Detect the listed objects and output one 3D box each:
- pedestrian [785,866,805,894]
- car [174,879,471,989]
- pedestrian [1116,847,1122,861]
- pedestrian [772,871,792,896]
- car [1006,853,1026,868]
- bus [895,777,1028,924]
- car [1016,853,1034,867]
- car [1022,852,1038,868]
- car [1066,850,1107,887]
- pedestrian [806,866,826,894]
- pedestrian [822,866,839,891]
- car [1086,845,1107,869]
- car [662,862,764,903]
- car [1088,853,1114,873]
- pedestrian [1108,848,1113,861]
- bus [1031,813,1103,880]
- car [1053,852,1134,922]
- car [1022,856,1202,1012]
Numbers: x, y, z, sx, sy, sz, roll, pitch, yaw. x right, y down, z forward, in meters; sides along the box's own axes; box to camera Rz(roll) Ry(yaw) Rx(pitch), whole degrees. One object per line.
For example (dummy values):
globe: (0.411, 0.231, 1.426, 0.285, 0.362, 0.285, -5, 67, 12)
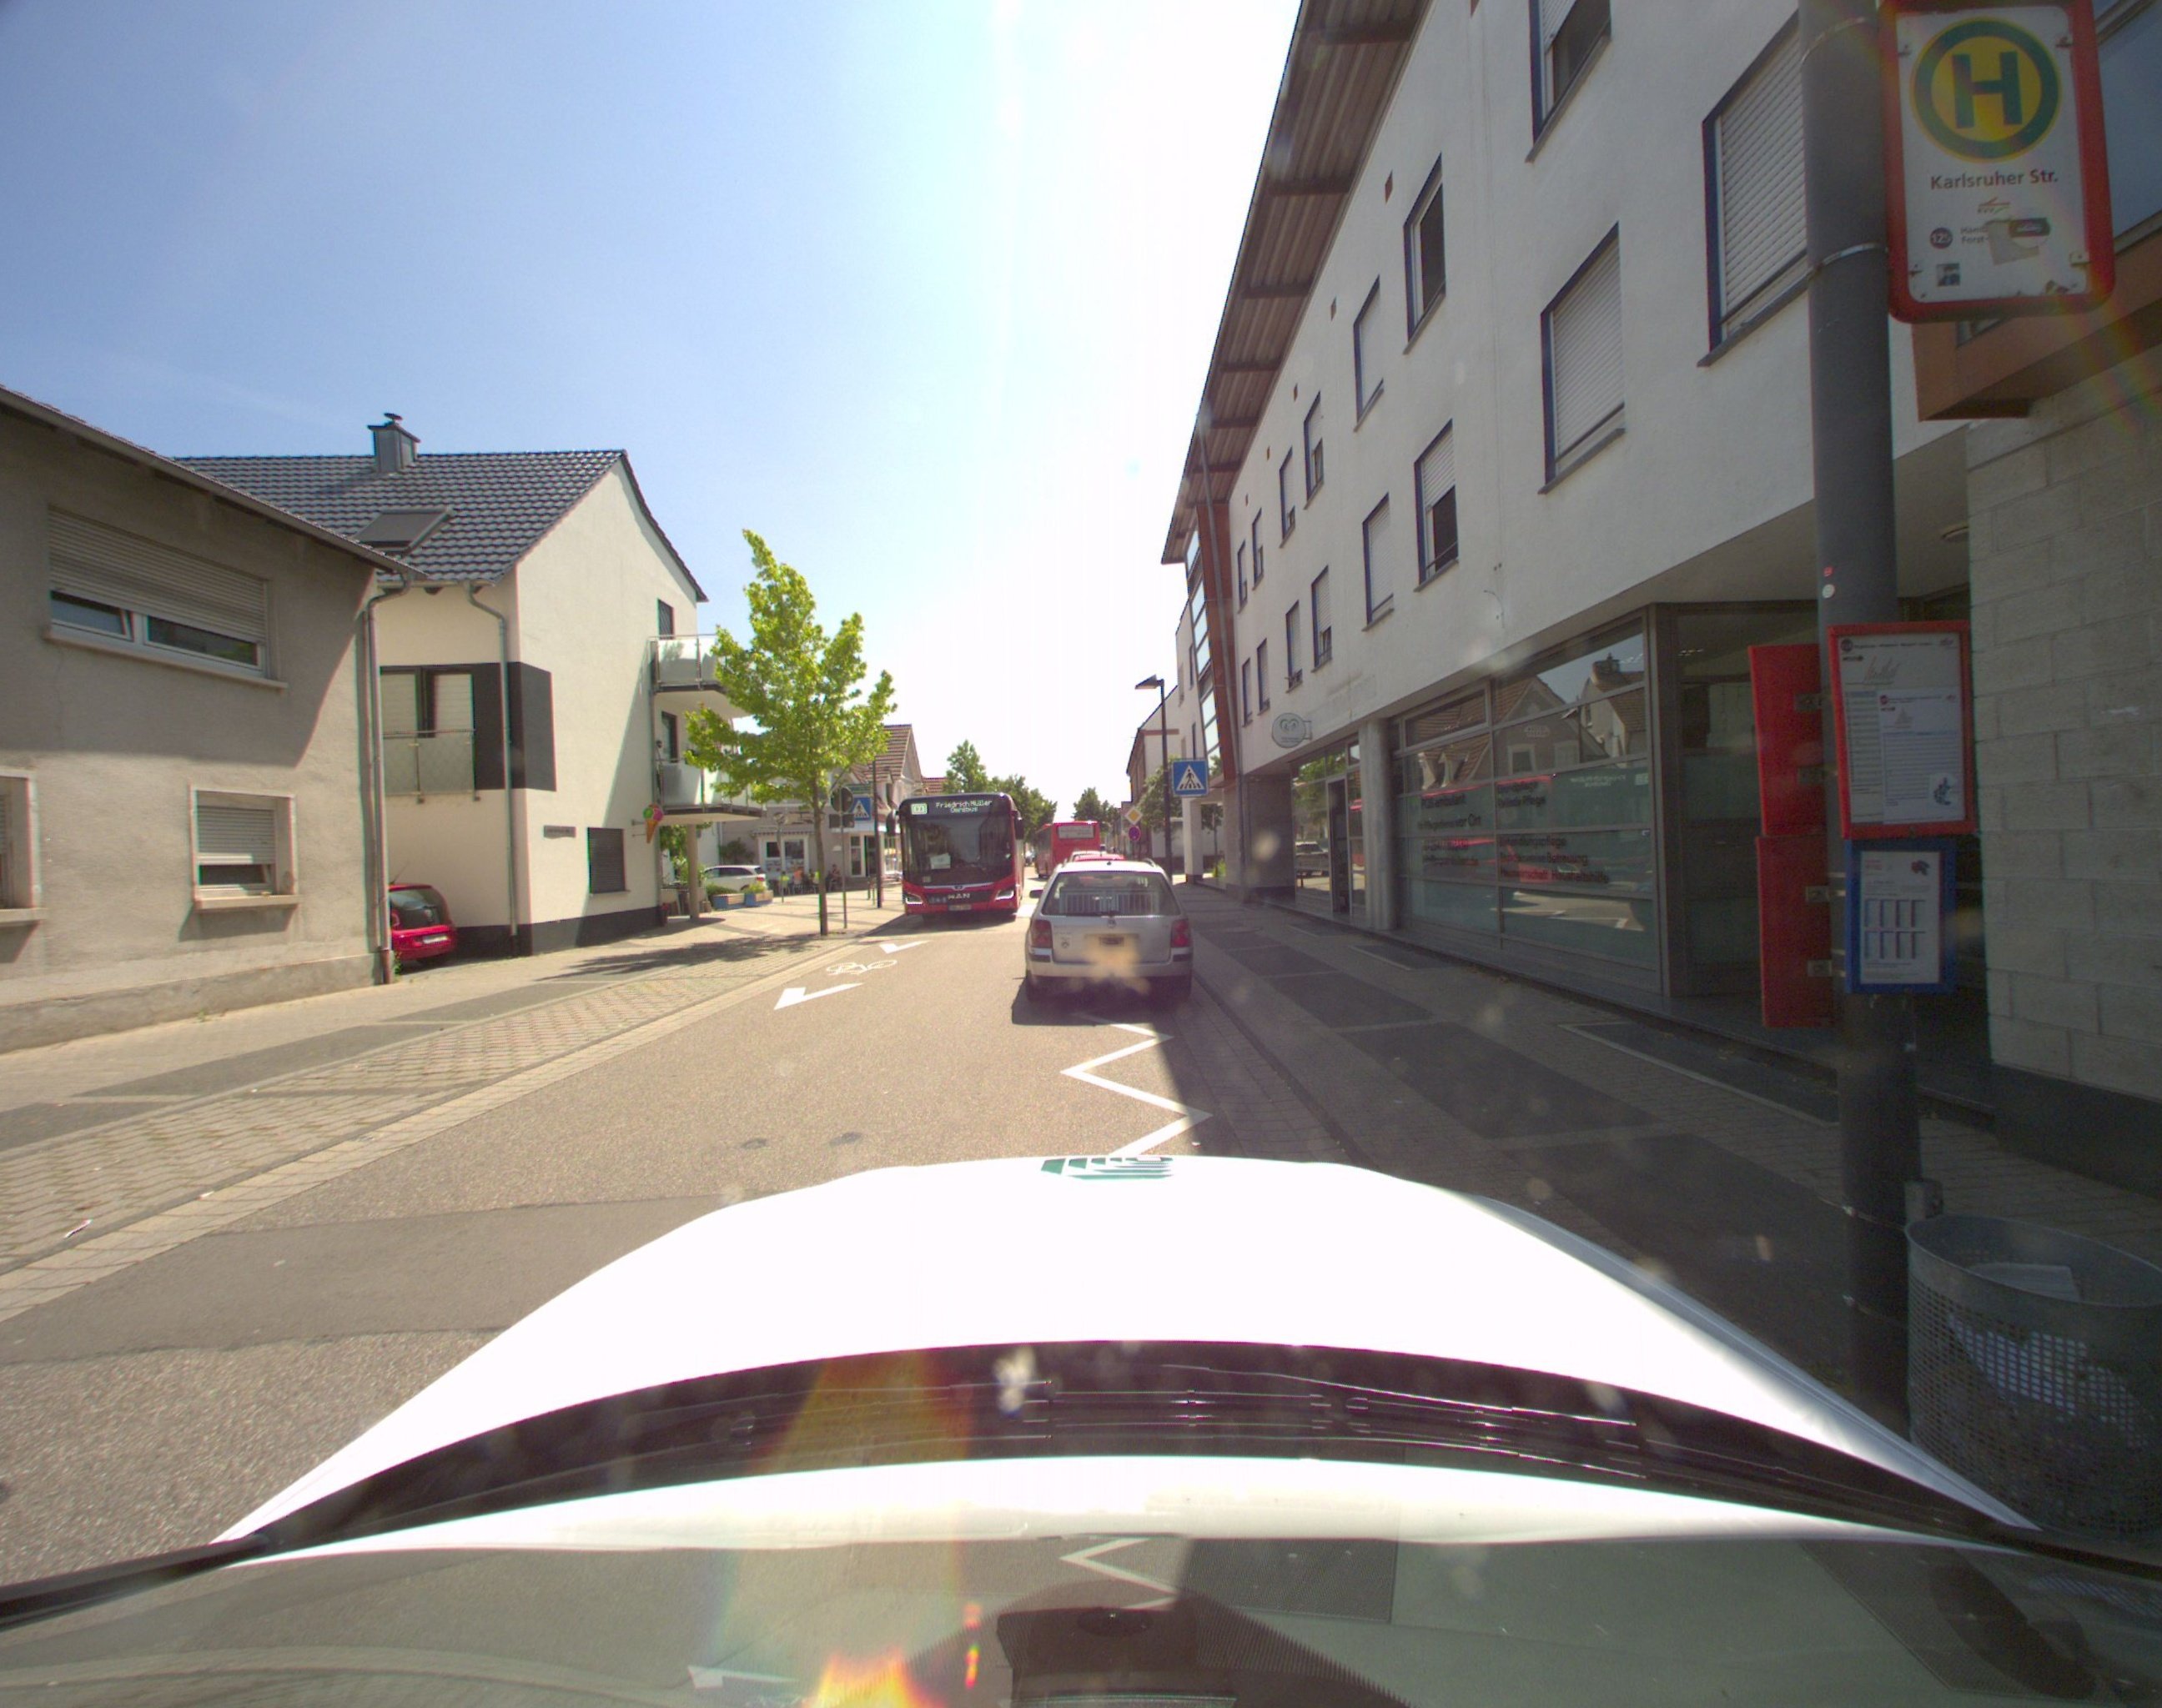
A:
pedestrian: (-13.647, 1.226, 38.868, 0.639, 1.289, 0.780, 1, -1, -44)
car: (-12.048, 1.227, 13.125, 3.110, 1.443, 1.584, -2, 0, -6)
pedestrian: (4.819, -0.003, 102.500, 0.604, 1.667, 0.789, -2, 0, -2)
pedestrian: (-13.909, 1.357, 37.900, 0.639, 1.116, 0.780, 1, -1, -44)
car: (-7.136, 0.722, 90.079, 1.806, 1.559, 3.999, -2, 0, 0)
bus: (-3.197, -0.083, 26.815, 2.663, 3.123, 17.784, -2, 0, -3)
car: (-6.624, 0.735, 96.530, 1.806, 1.559, 3.999, -2, 0, 0)
car: (-6.734, 0.801, 108.673, 1.806, 1.995, 3.999, -2, 0, 0)
car: (0.255, 0.568, 34.194, 1.588, 1.430, 3.680, -1, 0, 1)
pedestrian: (-12.616, 1.216, 38.724, 0.639, 1.289, 0.780, 1, -1, -44)
pedestrian: (-12.227, 1.207, 39.783, 0.621, 1.179, 0.695, -2, 0, -4)
car: (1.411, 0.283, 74.084, 1.782, 2.082, 3.625, -2, 0, -1)
car: (-16.337, 1.224, 36.346, 3.925, 1.545, 1.509, -3, 2, -17)
car: (1.403, 0.625, 58.801, 1.714, 1.309, 3.625, -2, 0, -1)
pedestrian: (3.711, 0.087, 101.978, 0.604, 1.667, 0.789, -2, 0, -2)
bus: (-1.089, -0.355, 47.543, 2.738, 3.298, 12.672, -2, 0, -7)
car: (0.266, 0.702, 19.222, 1.671, 1.430, 3.679, -2, 0, 0)
car: (0.291, 0.751, 9.448, 1.671, 1.430, 3.679, 0, 0, 0)
